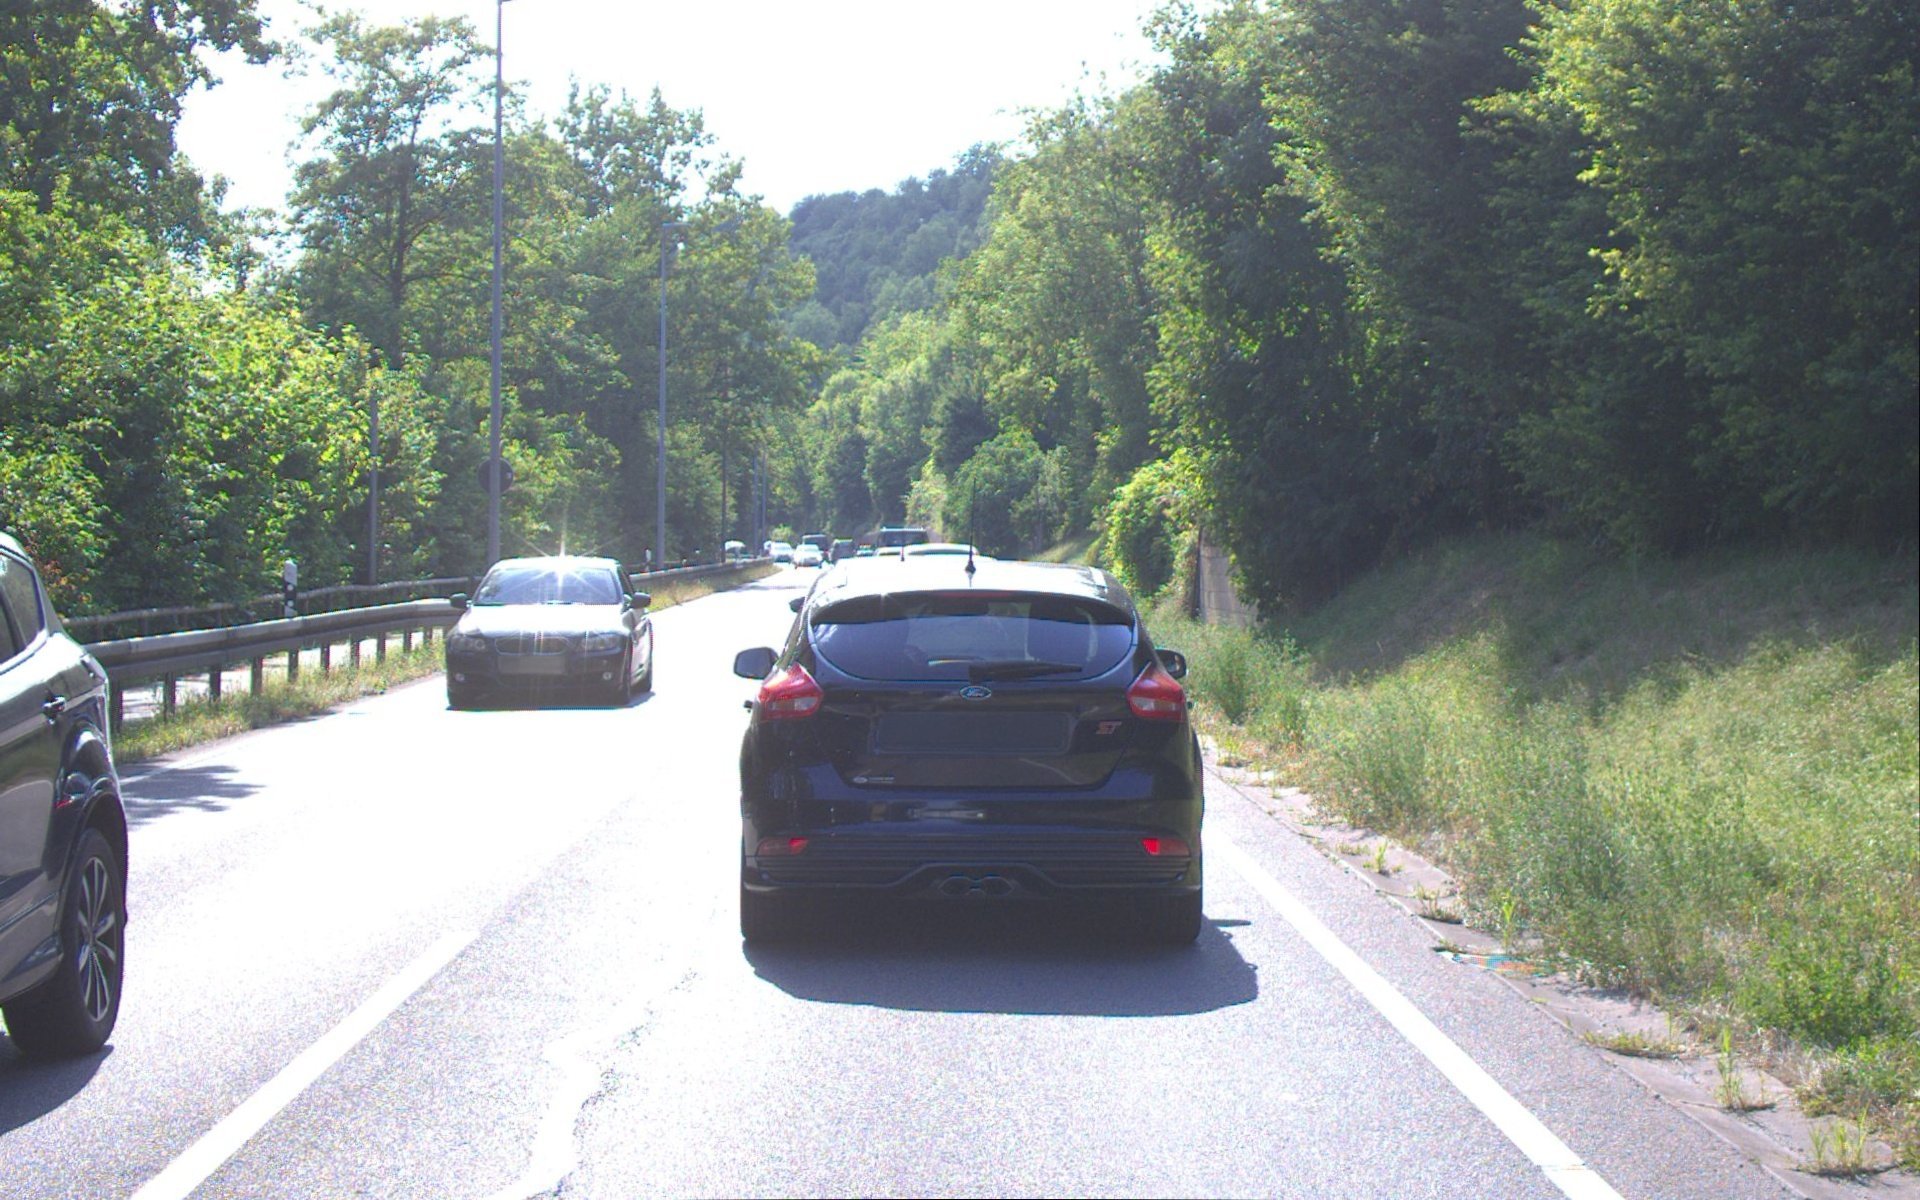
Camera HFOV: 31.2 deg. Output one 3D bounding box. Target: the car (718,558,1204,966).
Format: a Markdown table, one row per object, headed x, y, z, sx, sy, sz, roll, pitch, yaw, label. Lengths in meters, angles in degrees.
| x | y | z | sx | sy | sz | roll | pitch | yaw | label |
| --- | --- | --- | --- | --- | --- | --- | --- | --- | --- |
| -0.019 | 0.560 | 14.361 | 1.739 | 1.451 | 4.000 | 0 | 1 | -1 | car |

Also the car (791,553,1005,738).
| x | y | z | sx | sy | sz | roll | pitch | yaw | label |
| --- | --- | --- | --- | --- | --- | --- | --- | --- | --- |
| -0.457 | 0.328 | 28.804 | 1.661 | 1.413 | 4.000 | 0 | 1 | 1 | car |

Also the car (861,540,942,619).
| x | y | z | sx | sy | sz | roll | pitch | yaw | label |
| --- | --- | --- | --- | --- | --- | --- | --- | --- | --- |
| -1.208 | -0.448 | 71.298 | 1.631 | 1.590 | 4.000 | 0 | 1 | -1 | car |

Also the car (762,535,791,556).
| x | y | z | sx | sy | sz | roll | pitch | yaw | label |
| --- | --- | --- | --- | --- | --- | --- | --- | --- | --- |
| -12.906 | -3.838 | 241.111 | 1.681 | 1.458 | 4.199 | 0 | 1 | -8 | car |

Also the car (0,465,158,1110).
| x | y | z | sx | sy | sz | roll | pitch | yaw | label |
| --- | --- | --- | --- | --- | --- | --- | --- | --- | --- |
| -3.425 | 0.507 | 8.848 | 1.748 | 1.712 | 4.221 | 0 | 1 | 0 | car |

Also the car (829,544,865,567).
| x | y | z | sx | sy | sz | roll | pitch | yaw | label |
| --- | --- | --- | --- | --- | --- | --- | --- | --- | --- |
| -7.774 | -3.064 | 235.954 | 1.993 | 1.514 | 4.001 | 0 | 1 | -8 | car |

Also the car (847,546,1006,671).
| x | y | z | sx | sy | sz | roll | pitch | yaw | label |
| --- | --- | --- | --- | --- | --- | --- | --- | --- | --- |
| -0.401 | 0.064 | 40.925 | 1.804 | 1.387 | 4.000 | 0 | 1 | -1 | car |

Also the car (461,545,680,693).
| x | y | z | sx | sy | sz | roll | pitch | yaw | label |
| --- | --- | --- | --- | --- | --- | --- | --- | --- | --- |
| -3.951 | 0.151 | 35.439 | 1.692 | 1.415 | 4.142 | -1 | 1 | 1 | car |

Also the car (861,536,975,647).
| x | y | z | sx | sy | sz | roll | pitch | yaw | label |
| --- | --- | --- | --- | --- | --- | --- | --- | --- | --- |
| -0.624 | -0.159 | 51.442 | 1.631 | 1.590 | 4.000 | 0 | 1 | -1 | car |

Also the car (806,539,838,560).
| x | y | z | sx | sy | sz | roll | pitch | yaw | label |
| --- | --- | --- | --- | --- | --- | --- | --- | --- | --- |
| -10.093 | -3.719 | 251.278 | 1.993 | 1.514 | 4.001 | 0 | 1 | -8 | car |

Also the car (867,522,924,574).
| x | y | z | sx | sy | sz | roll | pitch | yaw | label |
| --- | --- | --- | --- | --- | --- | --- | --- | --- | --- |
| -2.267 | -1.818 | 120.137 | 1.863 | 1.774 | 4.001 | 0 | 1 | -3 | car |

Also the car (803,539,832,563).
| x | y | z | sx | sy | sz | roll | pitch | yaw | label |
| --- | --- | --- | --- | --- | --- | --- | --- | --- | --- |
| -8.534 | -2.949 | 205.636 | 1.623 | 1.372 | 4.048 | -2 | 1 | -1 | car |

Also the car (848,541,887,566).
| x | y | z | sx | sy | sz | roll | pitch | yaw | label |
| --- | --- | --- | --- | --- | --- | --- | --- | --- | --- |
| -5.776 | -2.914 | 214.876 | 1.993 | 1.514 | 4.001 | 0 | 1 | -8 | car |
